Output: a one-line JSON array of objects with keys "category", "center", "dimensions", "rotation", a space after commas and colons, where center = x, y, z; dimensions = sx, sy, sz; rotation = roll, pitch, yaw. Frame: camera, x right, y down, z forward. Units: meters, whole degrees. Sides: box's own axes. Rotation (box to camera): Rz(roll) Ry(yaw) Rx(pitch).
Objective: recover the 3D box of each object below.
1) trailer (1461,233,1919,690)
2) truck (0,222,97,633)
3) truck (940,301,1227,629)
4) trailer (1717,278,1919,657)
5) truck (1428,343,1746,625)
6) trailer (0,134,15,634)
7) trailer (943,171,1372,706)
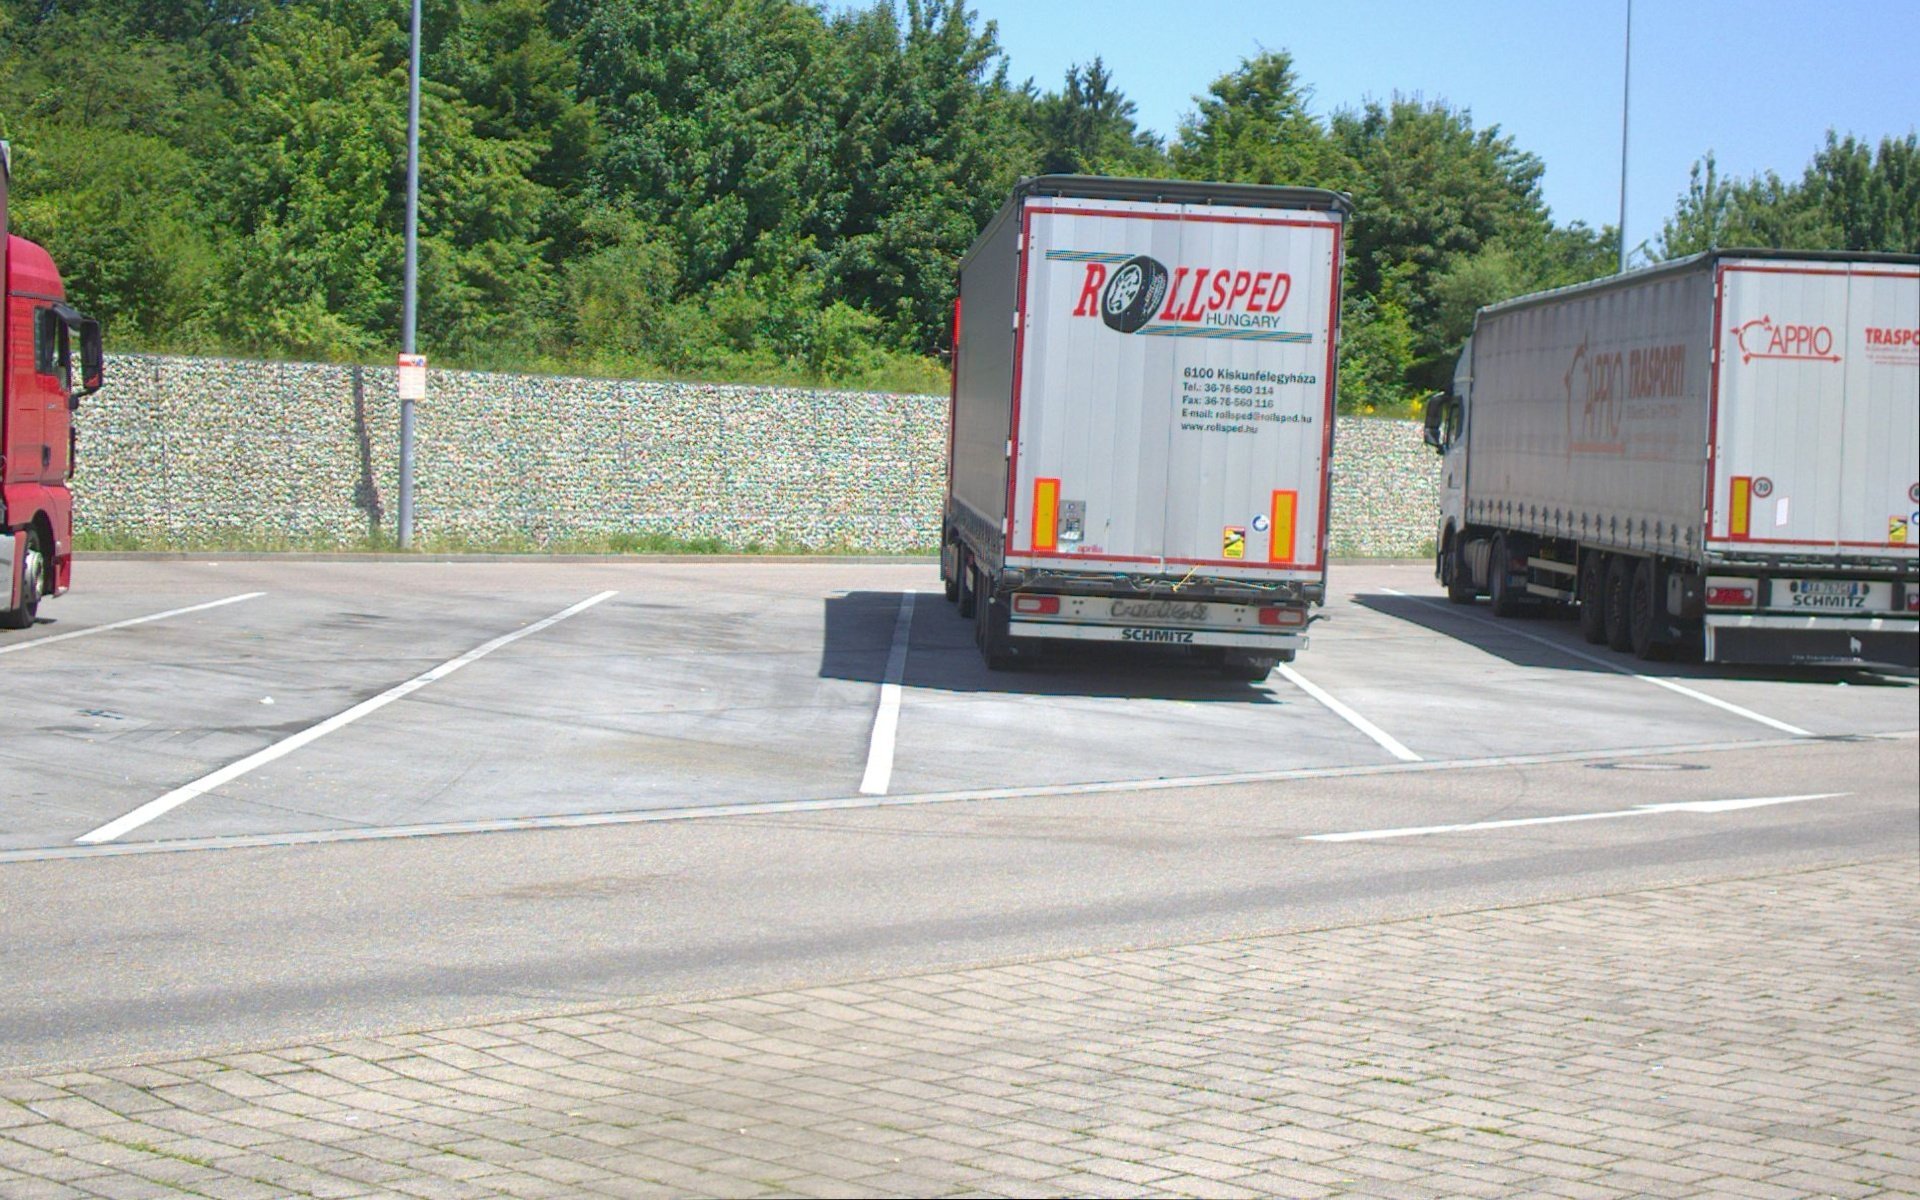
[{"category": "trailer", "center": [8.195, -1.586, 38.351], "dimensions": [2.858, 4.095, 13.765], "rotation": [2, 3, -1]}, {"category": "truck", "center": [-9.245, -1.456, 28.175], "dimensions": [2.812, 3.351, 5.975], "rotation": [2, 3, -1]}, {"category": "truck", "center": [1.282, -1.571, 39.299], "dimensions": [2.865, 3.351, 5.975], "rotation": [2, 3, -1]}, {"category": "trailer", "center": [11.792, -1.501, 39.364], "dimensions": [2.858, 4.095, 13.765], "rotation": [2, 3, -1]}, {"category": "truck", "center": [8.093, -1.566, 45.117], "dimensions": [2.865, 3.351, 5.975], "rotation": [2, 3, -1]}, {"category": "trailer", "center": [-9.157, -1.466, 21.356], "dimensions": [2.821, 4.057, 13.765], "rotation": [2, 3, -1]}, {"category": "trailer", "center": [1.466, -1.566, 33.097], "dimensions": [2.858, 3.958, 13.765], "rotation": [2, 3, -1]}]
